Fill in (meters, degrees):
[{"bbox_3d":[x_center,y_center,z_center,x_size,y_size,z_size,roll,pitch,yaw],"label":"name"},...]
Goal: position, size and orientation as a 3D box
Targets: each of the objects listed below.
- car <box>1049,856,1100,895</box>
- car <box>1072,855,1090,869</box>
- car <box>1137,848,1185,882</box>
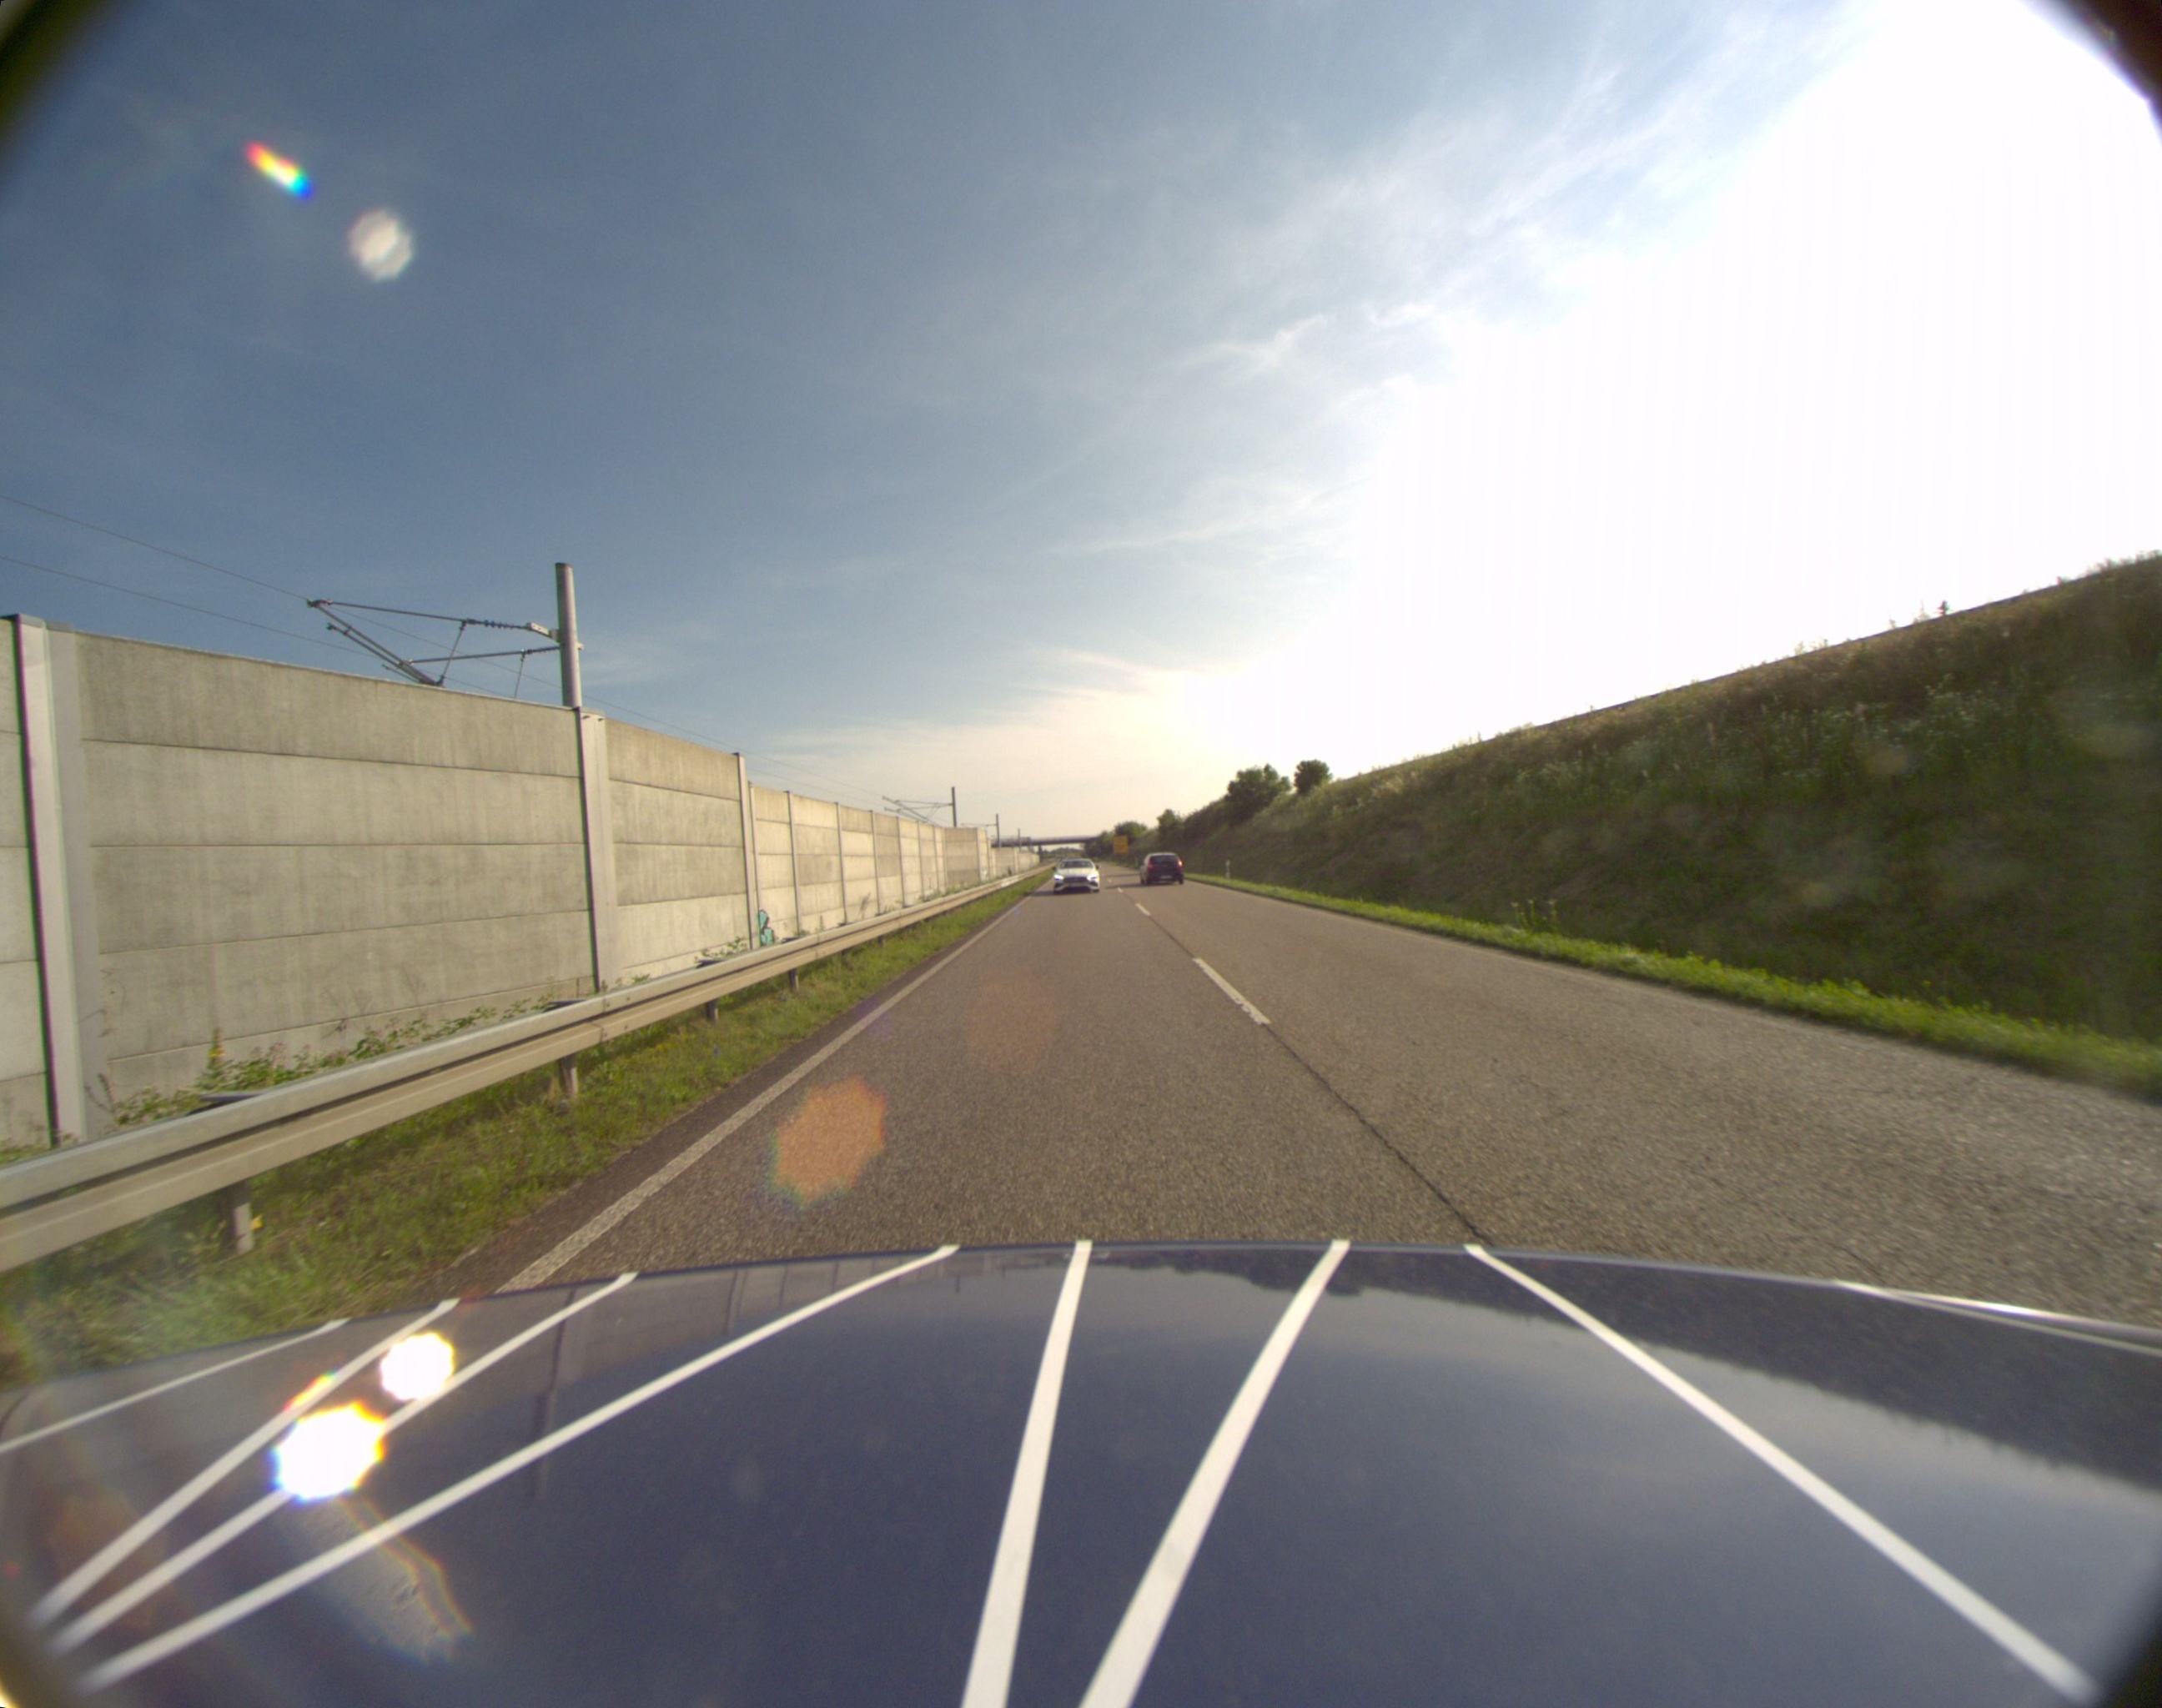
[{"bbox_3d":[-0.262,0.842,32.441,1.930,1.399,4.973,-3,0,0],"label":"car"},{"bbox_3d":[0.002,0.909,88.596,1.930,1.399,4.973,-2,1,0],"label":"car"},{"bbox_3d":[3.744,0.490,35.938,1.721,1.445,4.018,-3,0,-1],"label":"car"}]
